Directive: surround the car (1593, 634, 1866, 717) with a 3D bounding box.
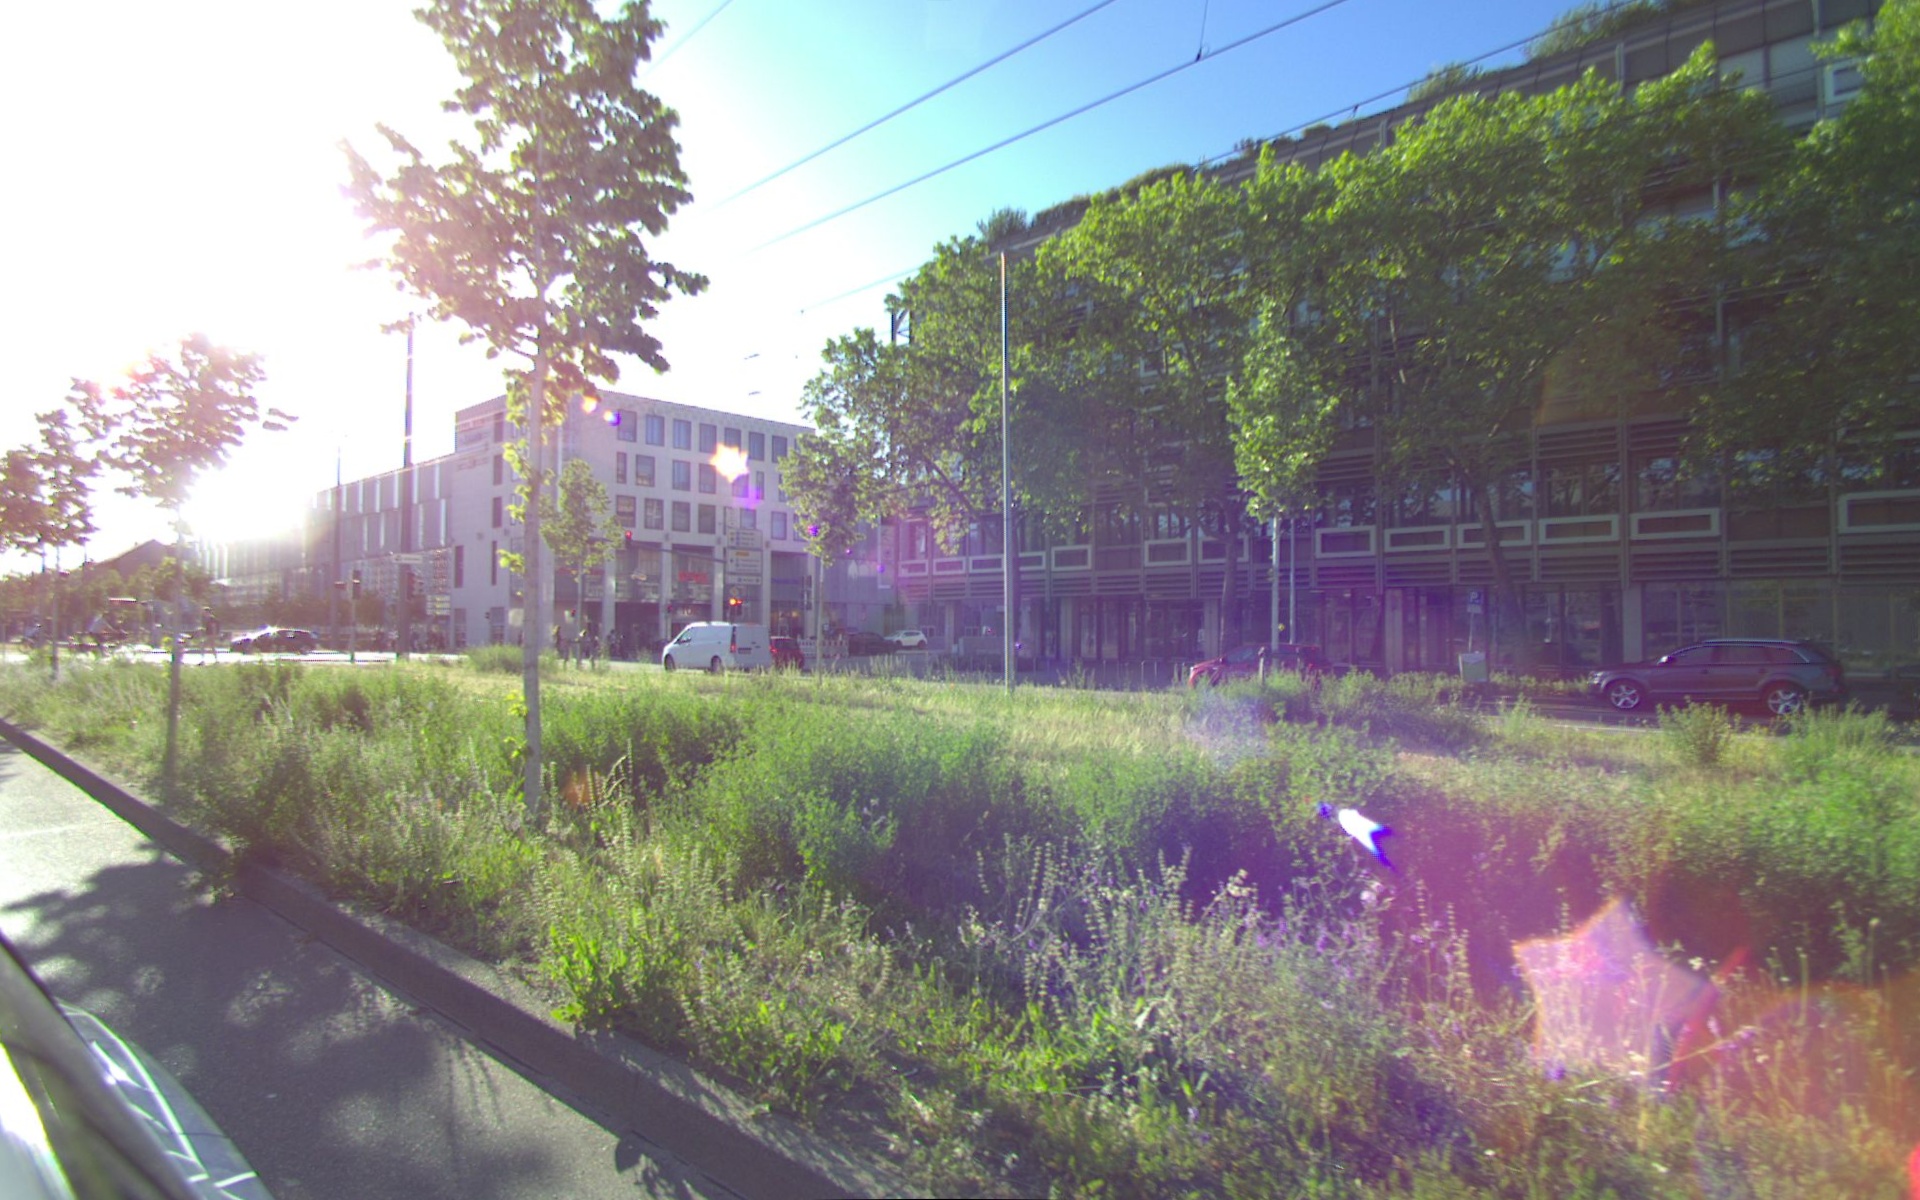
[{"bbox_3d":[17.710,1.661,23.546,4.863,1.693,1.974,-1,-1,39],"label":"car"}]

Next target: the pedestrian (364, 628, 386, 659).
[{"bbox_3d":[-40.371,2.999,69.848,0.887,2.140,0.945,0,-2,6],"label":"pedestrian"}]

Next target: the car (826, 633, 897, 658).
[{"bbox_3d":[-6.798,3.135,70.254,2.200,1.675,4.727,-2,-3,40],"label":"car"}]

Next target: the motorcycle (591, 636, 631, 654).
[{"bbox_3d":[-19.317,2.463,56.041,1.927,0.976,0.759,2,-2,-36],"label":"motorcycle"}]

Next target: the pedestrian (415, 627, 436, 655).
[{"bbox_3d":[-38.938,2.982,73.739,0.907,2.029,1.021,0,-2,9],"label":"pedestrian"}]

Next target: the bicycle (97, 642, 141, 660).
[{"bbox_3d":[-48.624,2.948,58.546,1.947,1.004,0.650,1,-2,-41],"label":"bicycle"}]

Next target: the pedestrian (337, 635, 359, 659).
[{"bbox_3d":[-41.196,3.158,68.135,0.933,1.583,0.841,0,-2,1],"label":"pedestrian"}]

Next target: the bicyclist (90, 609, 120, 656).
[{"bbox_3d":[-31.389,1.193,37.164,0.773,1.682,0.703,1,-3,-36],"label":"bicyclist"}]

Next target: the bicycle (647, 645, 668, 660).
[{"bbox_3d":[-23.960,4.158,80.177,0.648,1.121,2.413,2,-3,-43],"label":"bicycle"}]

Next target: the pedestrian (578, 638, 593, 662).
[{"bbox_3d":[-27.595,3.694,74.530,0.753,1.753,0.746,-2,-3,45],"label":"pedestrian"}]

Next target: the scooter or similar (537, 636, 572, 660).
[{"bbox_3d":[-20.037,2.362,50.041,0.644,1.184,1.462,-1,-2,44],"label":"scooter or similar"}]

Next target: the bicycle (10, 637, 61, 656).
[{"bbox_3d":[-51.585,2.587,56.485,2.044,0.986,0.807,0,-2,-39],"label":"bicycle"}]

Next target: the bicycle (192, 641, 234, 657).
[{"bbox_3d":[-48.238,3.163,65.383,0.805,0.934,2.048,-2,-2,41],"label":"bicycle"}]

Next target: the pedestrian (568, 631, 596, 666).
[{"bbox_3d":[-17.341,2.214,46.451,0.887,1.561,0.922,-1,-1,5],"label":"pedestrian"}]

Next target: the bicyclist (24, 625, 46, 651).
[{"bbox_3d":[-51.621,2.109,56.473,0.829,1.412,0.807,1,-2,-38],"label":"bicyclist"}]

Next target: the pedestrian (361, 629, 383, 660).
[{"bbox_3d":[-41.273,3.094,71.065,0.889,2.140,0.943,0,-2,13],"label":"pedestrian"}]

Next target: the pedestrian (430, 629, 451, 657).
[{"bbox_3d":[-38.480,3.158,74.971,0.906,2.029,1.021,0,-2,7],"label":"pedestrian"}]

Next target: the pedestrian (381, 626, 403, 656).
[{"bbox_3d":[-40.466,2.938,72.113,0.890,2.140,0.942,0,-2,14],"label":"pedestrian"}]

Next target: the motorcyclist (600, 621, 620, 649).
[{"bbox_3d":[-19.366,1.931,56.024,0.867,1.495,0.759,2,-2,-35],"label":"motorcyclist"}]

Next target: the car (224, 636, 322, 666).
[{"bbox_3d":[-38.418,2.820,56.657,4.231,1.593,1.945,2,-3,-45],"label":"car"}]

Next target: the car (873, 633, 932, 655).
[{"bbox_3d":[-4.726,3.630,83.360,4.479,1.725,2.129,2,-2,-39],"label":"car"}]

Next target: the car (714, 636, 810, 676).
[{"bbox_3d":[-8.008,2.240,40.798,3.879,1.497,1.820,-2,-6,42],"label":"car"}]

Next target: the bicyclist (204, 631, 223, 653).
[{"bbox_3d":[-48.247,2.700,65.394,0.805,1.367,0.830,-2,-2,41],"label":"bicyclist"}]

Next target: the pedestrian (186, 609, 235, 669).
[{"bbox_3d":[-24.549,1.261,33.154,1.014,1.925,1.037,-2,-2,39],"label":"pedestrian"}]

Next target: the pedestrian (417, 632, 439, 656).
[{"bbox_3d":[-37.478,3.063,71.257,0.996,1.663,0.946,0,-2,9],"label":"pedestrian"}]

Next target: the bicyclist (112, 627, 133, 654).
[{"bbox_3d":[-48.535,2.349,58.654,0.927,1.556,0.650,1,-2,-40],"label":"bicyclist"}]

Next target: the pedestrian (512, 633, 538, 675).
[{"bbox_3d":[-18.645,2.303,43.352,0.857,1.757,0.729,-2,-2,39],"label":"pedestrian"}]

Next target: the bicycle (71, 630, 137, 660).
[{"bbox_3d":[-31.394,1.639,37.157,1.771,1.102,0.710,1,-3,-36],"label":"bicycle"}]

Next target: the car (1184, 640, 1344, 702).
[{"bbox_3d":[7.797,1.812,26.084,3.574,1.464,1.692,-2,-5,42],"label":"car"}]

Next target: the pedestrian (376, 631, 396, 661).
[{"bbox_3d":[-41.849,3.351,73.767,0.894,2.140,0.938,-1,-2,28],"label":"pedestrian"}]

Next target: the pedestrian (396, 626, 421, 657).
[{"bbox_3d":[-38.755,2.894,71.109,1.050,2.145,1.096,0,-2,7],"label":"pedestrian"}]

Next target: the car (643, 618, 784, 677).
[{"bbox_3d":[-9.303,1.767,37.916,5.708,2.029,2.234,-2,-5,42],"label":"car"}]

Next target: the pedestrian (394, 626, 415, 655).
[{"bbox_3d":[-40.671,2.975,74.069,0.891,2.140,0.941,0,-2,18],"label":"pedestrian"}]

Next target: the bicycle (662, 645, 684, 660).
[{"bbox_3d":[-23.013,4.186,81.105,0.673,1.119,2.479,2,-3,-42],"label":"bicycle"}]

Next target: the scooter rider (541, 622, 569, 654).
[{"bbox_3d":[-20.044,1.874,50.062,0.644,1.556,1.101,-1,-2,44],"label":"scooter rider"}]
